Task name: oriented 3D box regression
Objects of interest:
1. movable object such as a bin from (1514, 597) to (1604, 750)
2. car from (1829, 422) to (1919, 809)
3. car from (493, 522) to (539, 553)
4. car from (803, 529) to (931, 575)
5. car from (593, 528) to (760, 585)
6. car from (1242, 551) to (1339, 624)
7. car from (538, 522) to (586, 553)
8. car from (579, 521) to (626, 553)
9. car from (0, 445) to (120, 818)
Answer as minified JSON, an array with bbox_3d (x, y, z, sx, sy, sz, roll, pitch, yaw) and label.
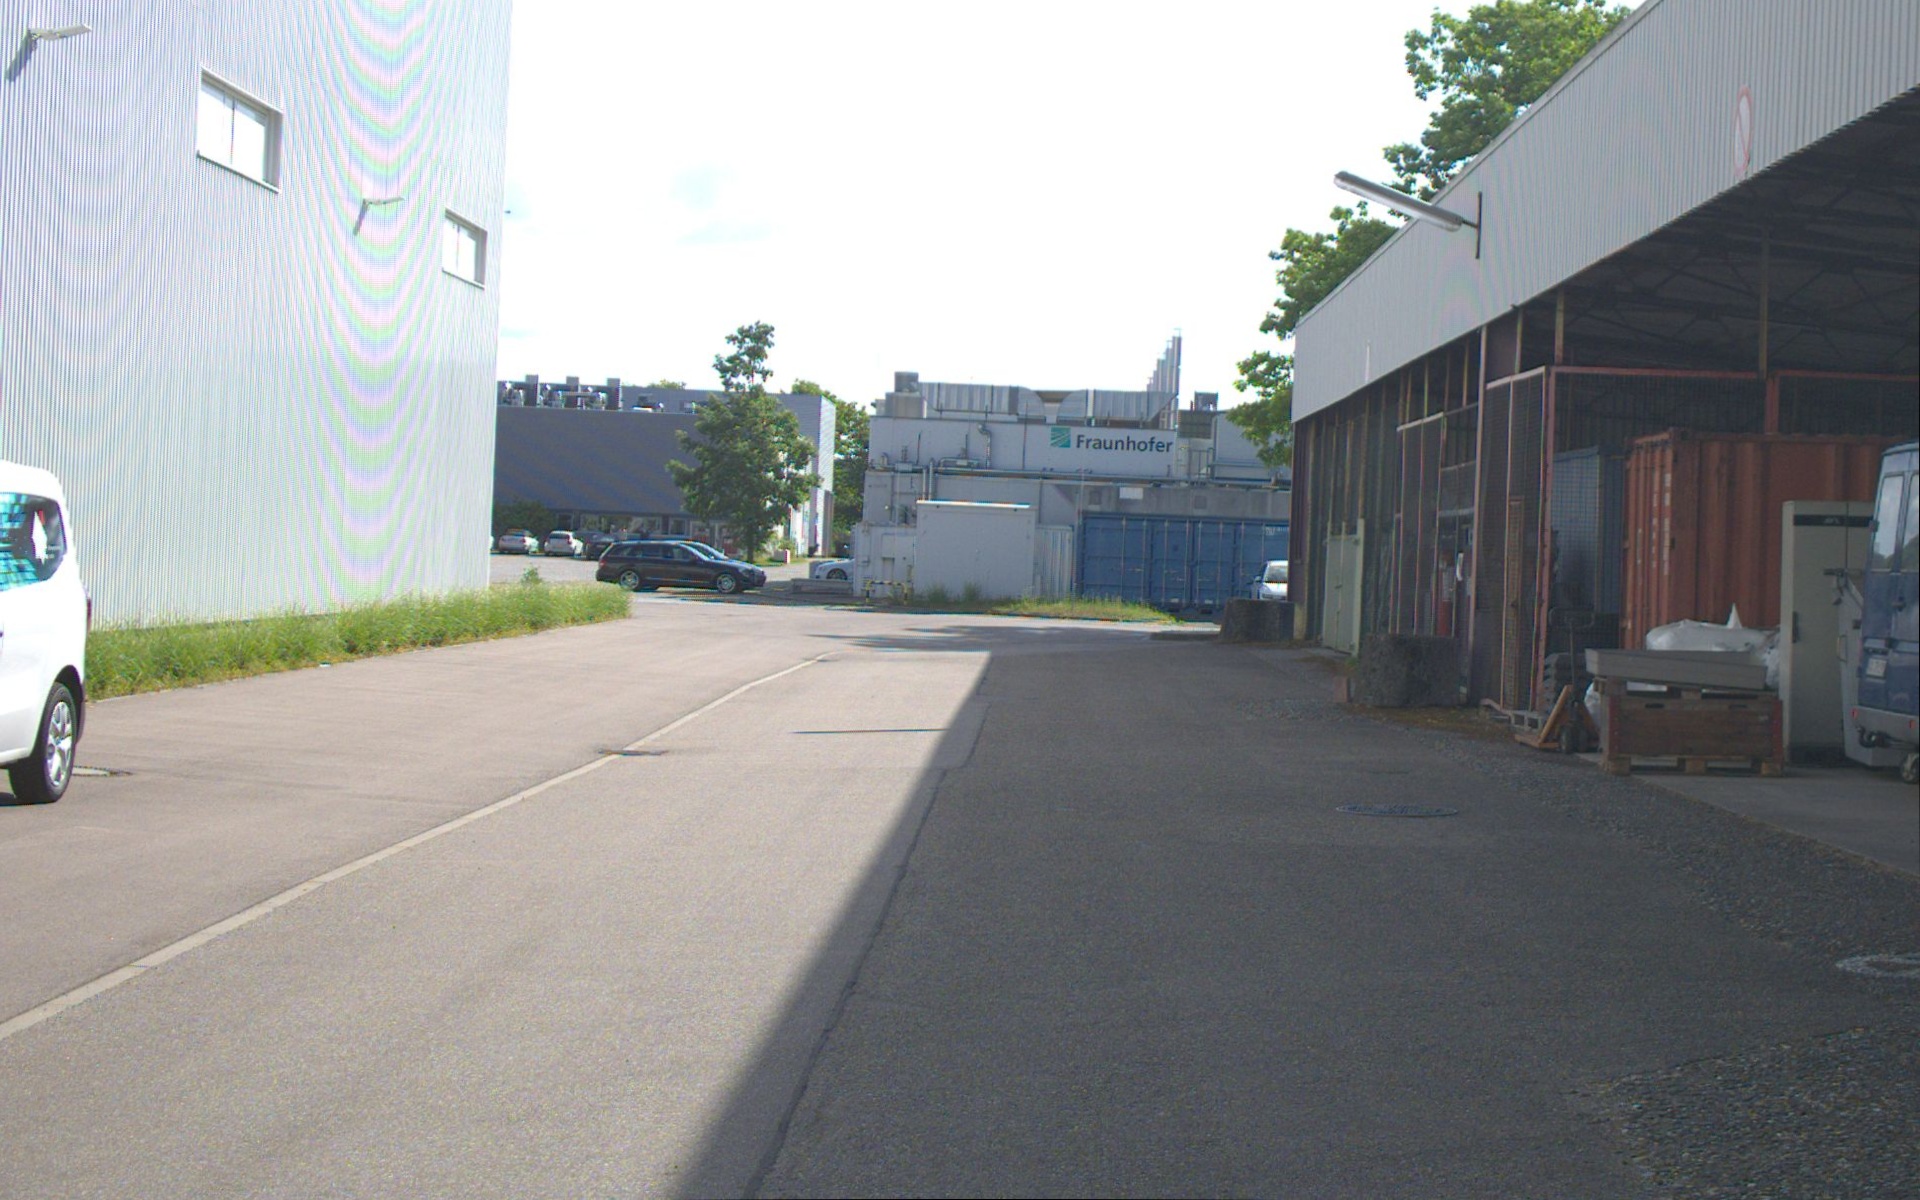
[{"bbox_3d":[4.746,0.569,27.296,0.582,1.160,1.238,1,1,5],"label":"movable object such as a bin"},{"bbox_3d":[8.210,0.160,21.515,4.979,2.317,2.000,2,1,2],"label":"car"},{"bbox_3d":[-25.325,-3.558,196.180,1.993,1.730,4.000,1,0,1],"label":"car"},{"bbox_3d":[-3.399,-1.759,126.395,4.526,1.503,1.909,2,1,2],"label":"car"},{"bbox_3d":[-8.143,-1.247,98.918,4.526,1.503,1.909,2,1,3],"label":"car"},{"bbox_3d":[8.214,-0.327,85.729,1.993,1.580,4.173,2,2,1],"label":"car"},{"bbox_3d":[-22.732,-3.560,196.455,2.193,1.730,4.000,1,0,1],"label":"car"},{"bbox_3d":[-20.212,-3.544,194.676,2.193,1.730,4.000,1,0,1],"label":"car"},{"bbox_3d":[-5.635,0.095,16.650,1.890,1.839,4.358,4,1,1],"label":"car"}]
